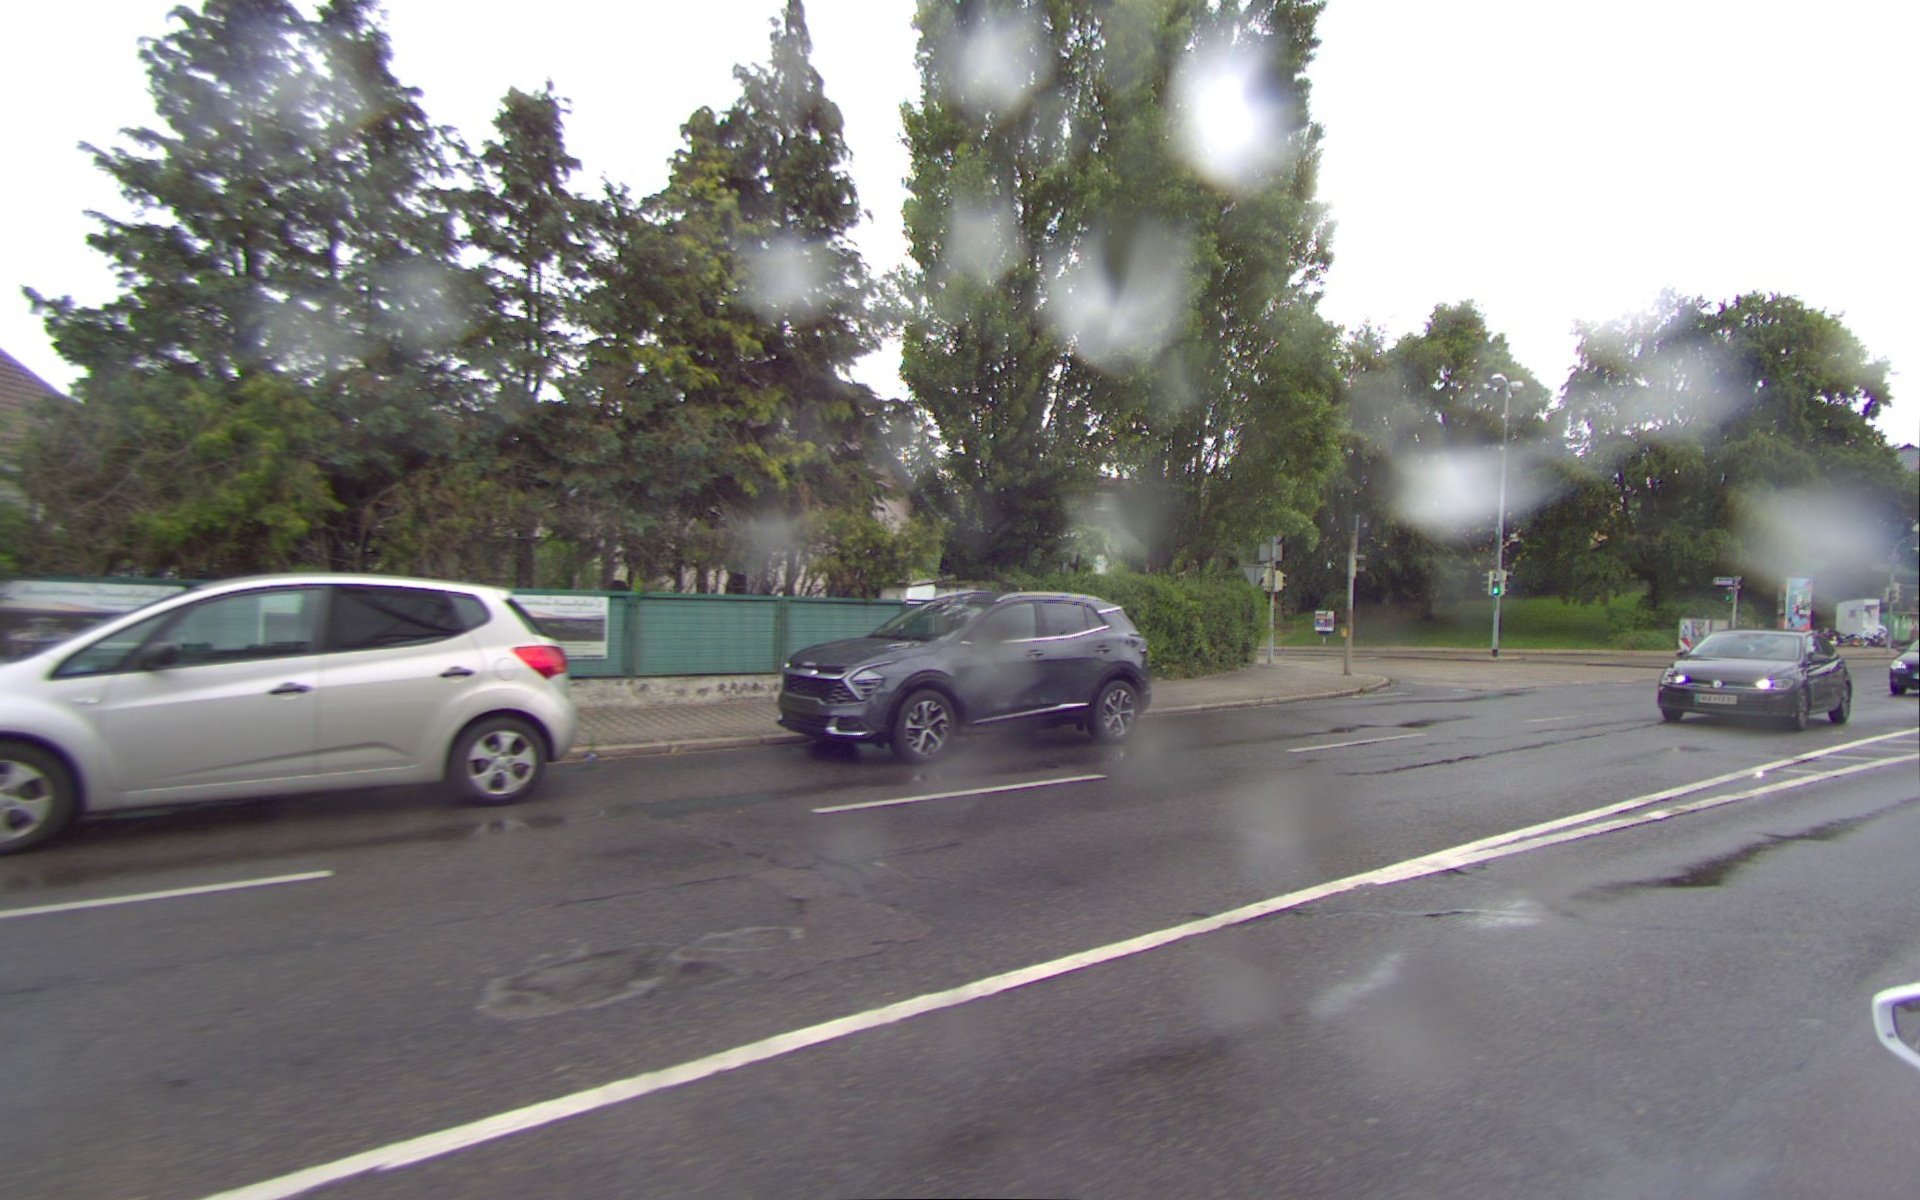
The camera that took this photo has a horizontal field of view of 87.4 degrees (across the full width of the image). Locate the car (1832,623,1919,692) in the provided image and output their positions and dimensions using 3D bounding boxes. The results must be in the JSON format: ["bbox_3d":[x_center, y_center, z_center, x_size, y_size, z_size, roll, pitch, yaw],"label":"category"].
[{"bbox_3d":[22.606,1.331,23.954,3.960,1.483,1.841,1,0,-35],"label":"car"}]

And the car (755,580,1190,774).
[{"bbox_3d":[0.278,0.742,10.877,4.556,1.691,1.791,2,-1,-37],"label":"car"}]

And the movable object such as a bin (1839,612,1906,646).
[{"bbox_3d":[45.001,1.405,49.556,1.560,1.590,2.051,-1,1,-25],"label":"movable object such as a bin"}]

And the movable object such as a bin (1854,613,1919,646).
[{"bbox_3d":[46.406,1.463,50.275,1.560,1.590,2.051,-1,1,-25],"label":"movable object such as a bin"}]

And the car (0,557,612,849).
[{"bbox_3d":[-4.766,0.598,6.937,4.105,1.589,1.791,2,-1,-37],"label":"car"}]

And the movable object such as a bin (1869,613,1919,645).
[{"bbox_3d":[47.708,1.453,50.918,1.326,1.535,2.051,-1,1,-25],"label":"movable object such as a bin"}]

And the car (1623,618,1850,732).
[{"bbox_3d":[12.108,1.093,15.594,3.961,1.522,1.700,2,-1,-35],"label":"car"}]
